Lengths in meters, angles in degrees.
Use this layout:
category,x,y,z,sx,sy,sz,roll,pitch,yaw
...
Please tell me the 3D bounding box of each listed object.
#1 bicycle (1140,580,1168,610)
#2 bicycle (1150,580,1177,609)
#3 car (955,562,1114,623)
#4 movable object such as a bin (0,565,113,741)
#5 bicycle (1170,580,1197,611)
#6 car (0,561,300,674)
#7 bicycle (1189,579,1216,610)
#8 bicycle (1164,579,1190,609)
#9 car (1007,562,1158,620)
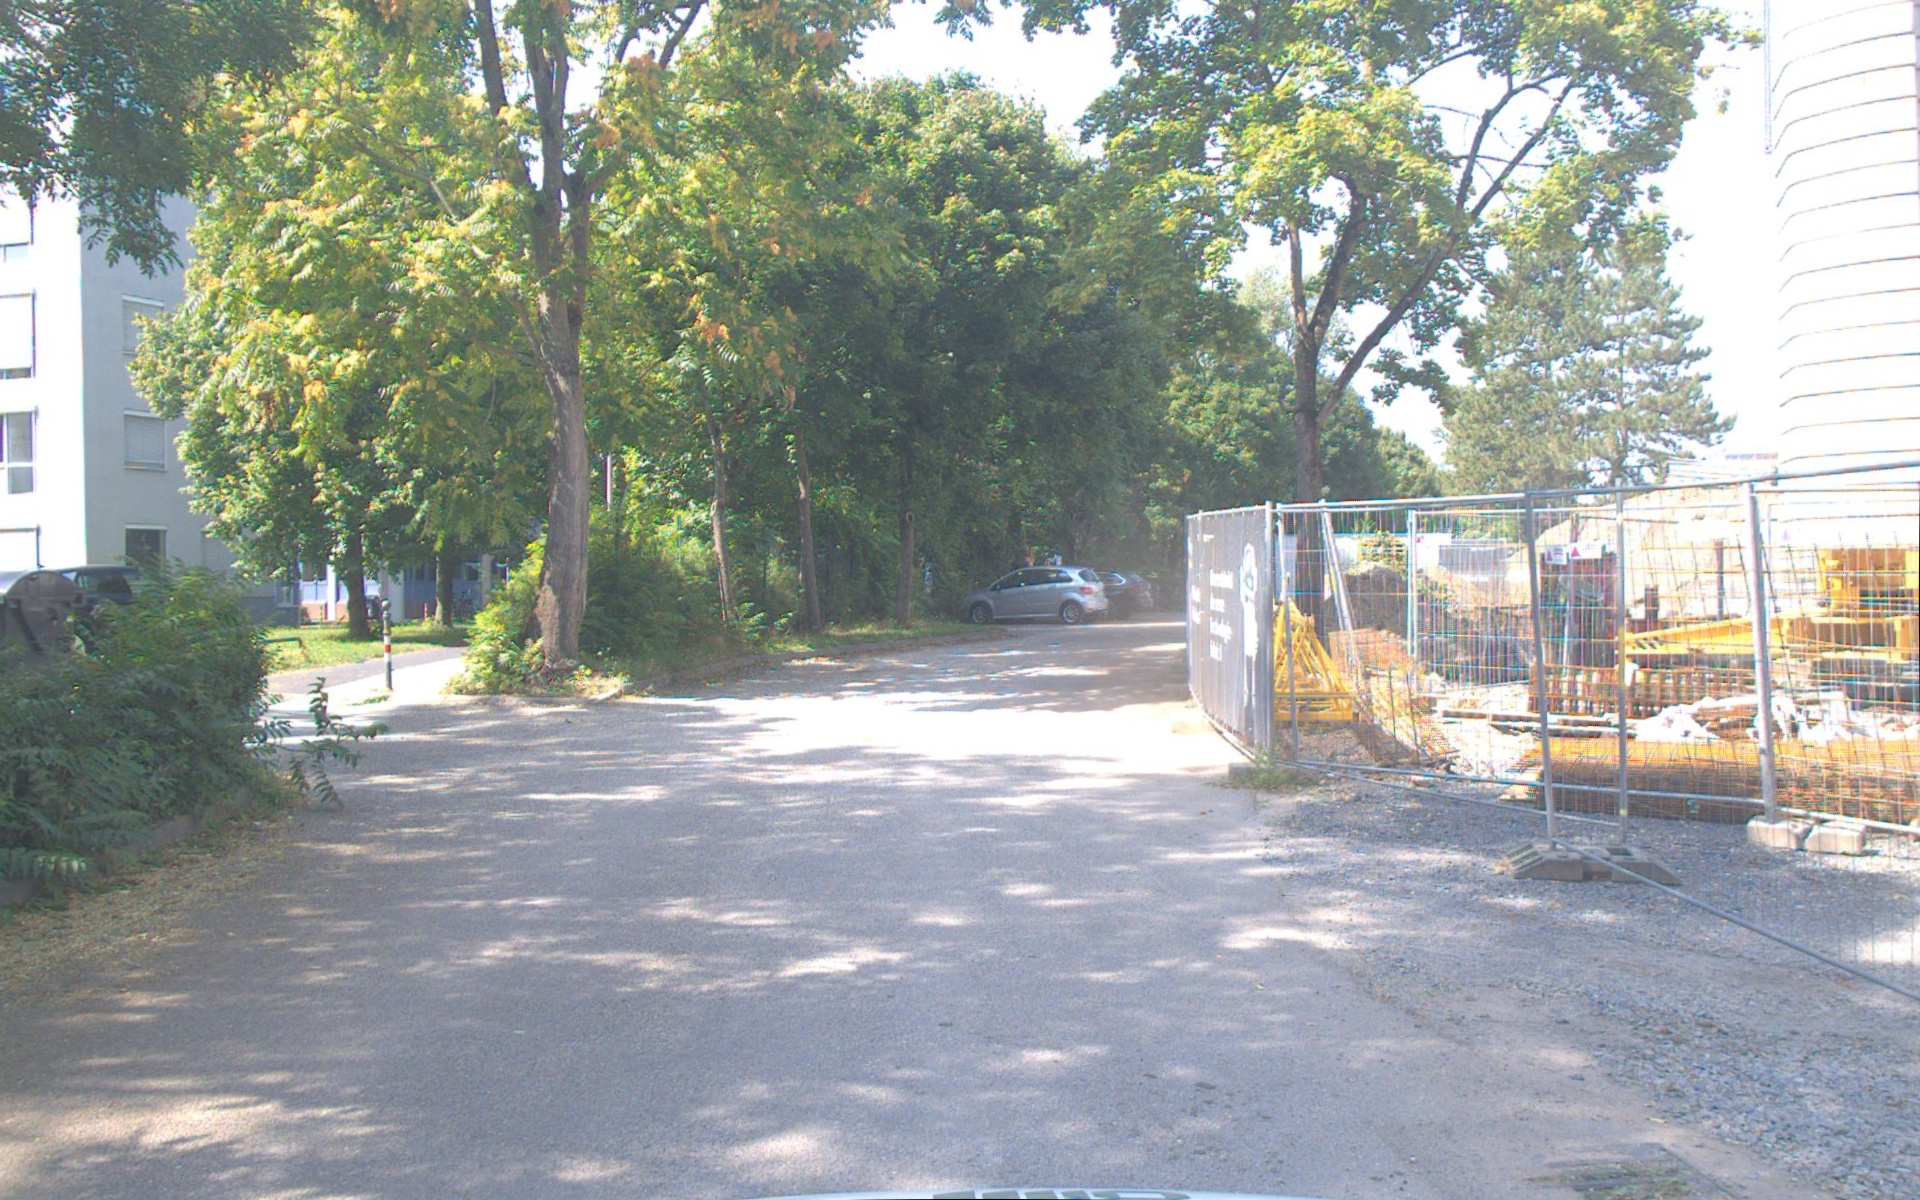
category,x,y,z,sx,sy,sz,roll,pitch,yaw
bicycle,7.312,-0.197,62.150,0.489,1.127,1.799,0,1,26
bicycle,7.902,-0.223,64.191,0.489,1.127,1.799,0,1,26
car,2.108,-0.246,46.731,4.063,1.640,2.000,1,1,22
movable object such as a bin,-8.765,0.448,15.074,1.339,1.519,1.337,0,1,6
bicycle,8.396,-0.184,62.029,0.489,1.127,1.799,0,1,26
car,-12.088,0.213,24.866,1.669,1.554,3.908,0,1,27
bicycle,8.990,-0.200,61.363,0.489,1.127,1.799,0,1,26
bicycle,8.400,-0.232,64.008,0.489,1.127,1.799,0,1,26
car,3.626,-0.292,48.994,4.063,1.640,2.000,1,1,22
